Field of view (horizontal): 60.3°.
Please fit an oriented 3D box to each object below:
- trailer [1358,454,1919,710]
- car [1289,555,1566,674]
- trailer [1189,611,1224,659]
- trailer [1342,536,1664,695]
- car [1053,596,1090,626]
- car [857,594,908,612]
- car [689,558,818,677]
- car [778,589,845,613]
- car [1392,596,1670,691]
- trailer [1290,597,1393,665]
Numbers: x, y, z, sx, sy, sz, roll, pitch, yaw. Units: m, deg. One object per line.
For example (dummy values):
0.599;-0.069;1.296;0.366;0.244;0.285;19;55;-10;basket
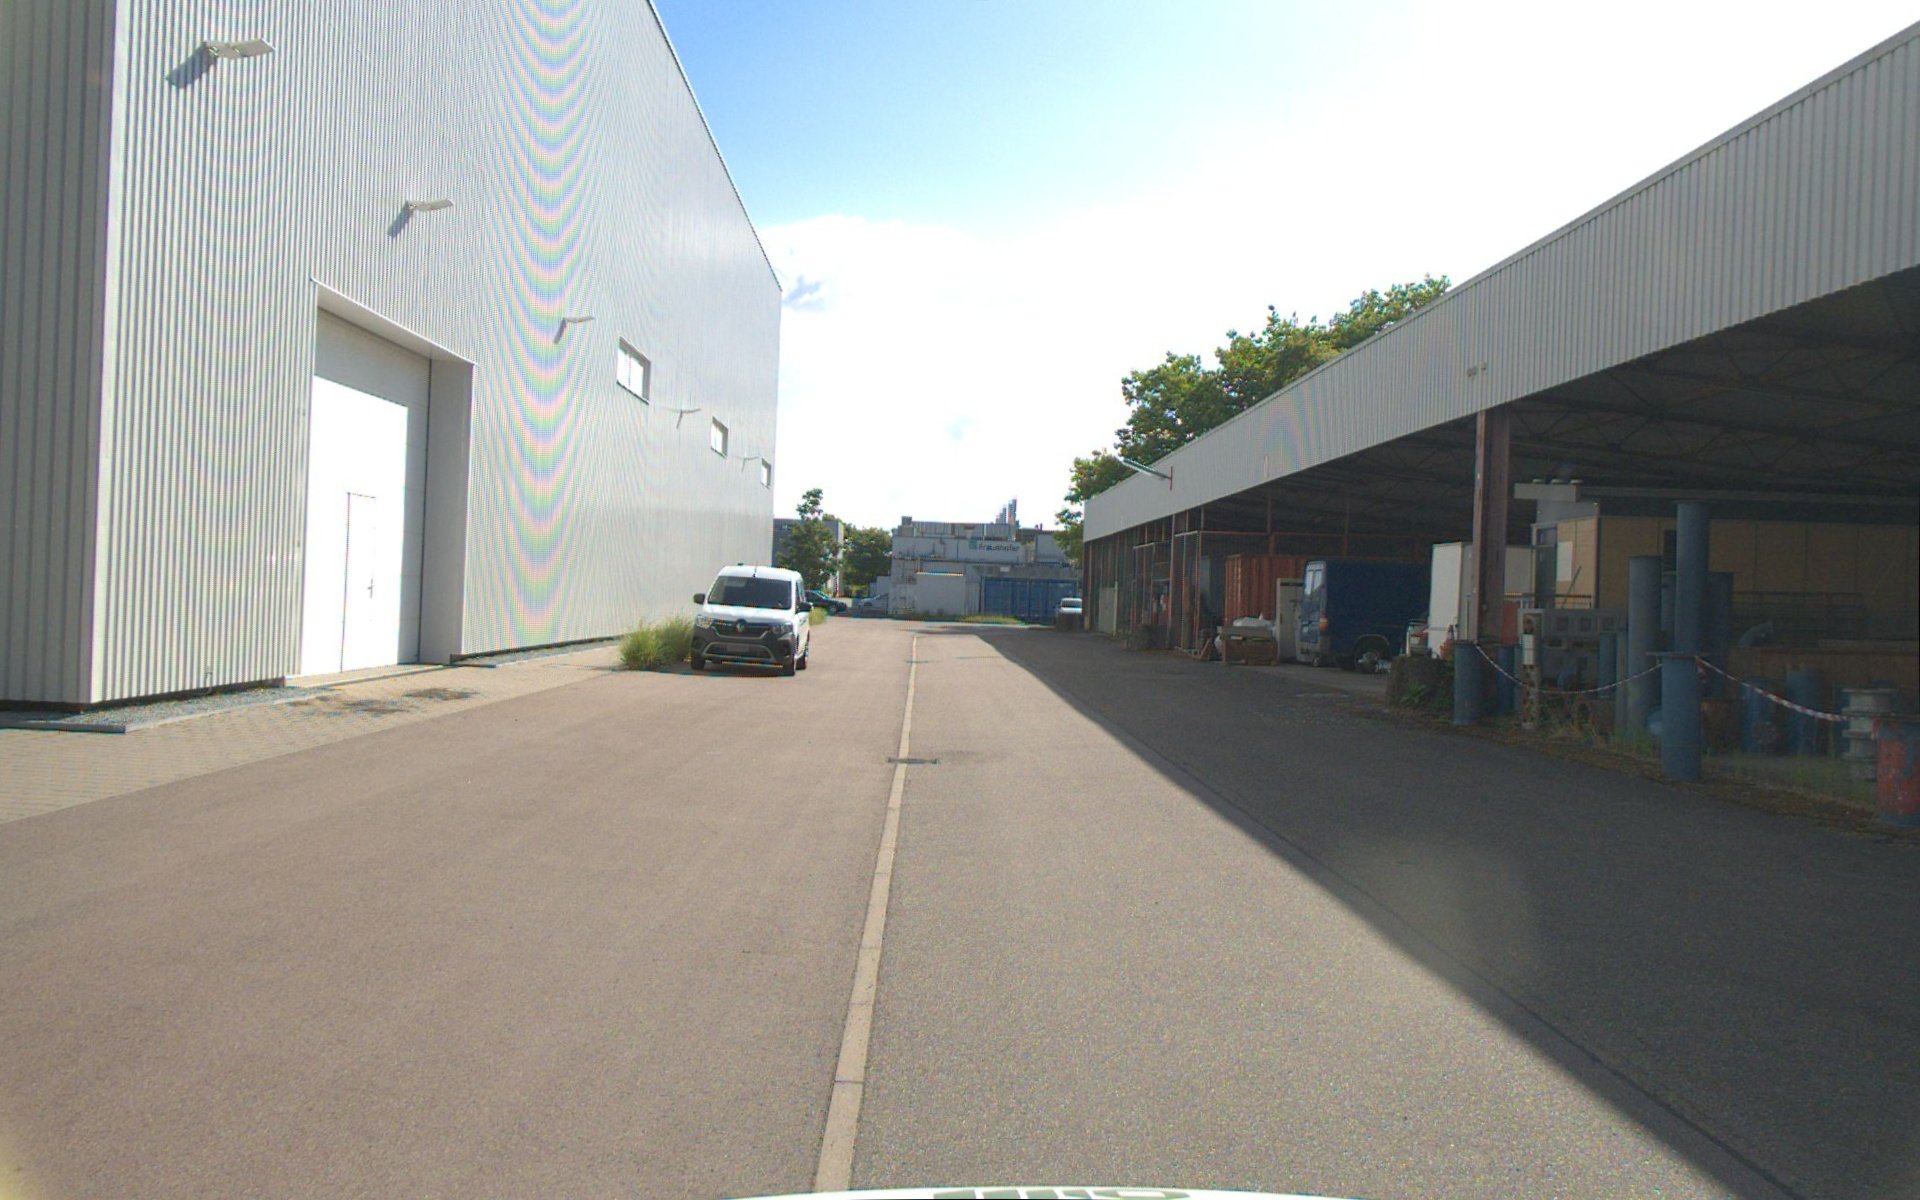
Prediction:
11.102;-0.225;23.805;10.059;3.401;2.800;1;0;-1;trailer
9.833;0.310;35.061;5.225;2.321;2.152;1;-1;-2;car
6.045;0.848;40.672;0.541;1.138;1.546;0;0;-3;trailer
8.514;0.247;26.226;4.424;2.383;2.047;0;-1;-1;trailer
6.662;0.626;99.269;1.939;1.630;4.377;1;1;0;car
-6.530;0.266;139.242;4.216;1.483;1.823;1;0;-2;car
-3.584;0.300;29.465;1.748;1.847;4.600;3;0;-2;car
-9.973;0.067;111.243;4.358;1.558;1.823;1;0;-2;car
9.891;0.737;28.822;4.165;1.497;1.868;1;0;-5;car
8.661;0.684;37.639;1.996;1.492;1.739;0;0;2;trailer
